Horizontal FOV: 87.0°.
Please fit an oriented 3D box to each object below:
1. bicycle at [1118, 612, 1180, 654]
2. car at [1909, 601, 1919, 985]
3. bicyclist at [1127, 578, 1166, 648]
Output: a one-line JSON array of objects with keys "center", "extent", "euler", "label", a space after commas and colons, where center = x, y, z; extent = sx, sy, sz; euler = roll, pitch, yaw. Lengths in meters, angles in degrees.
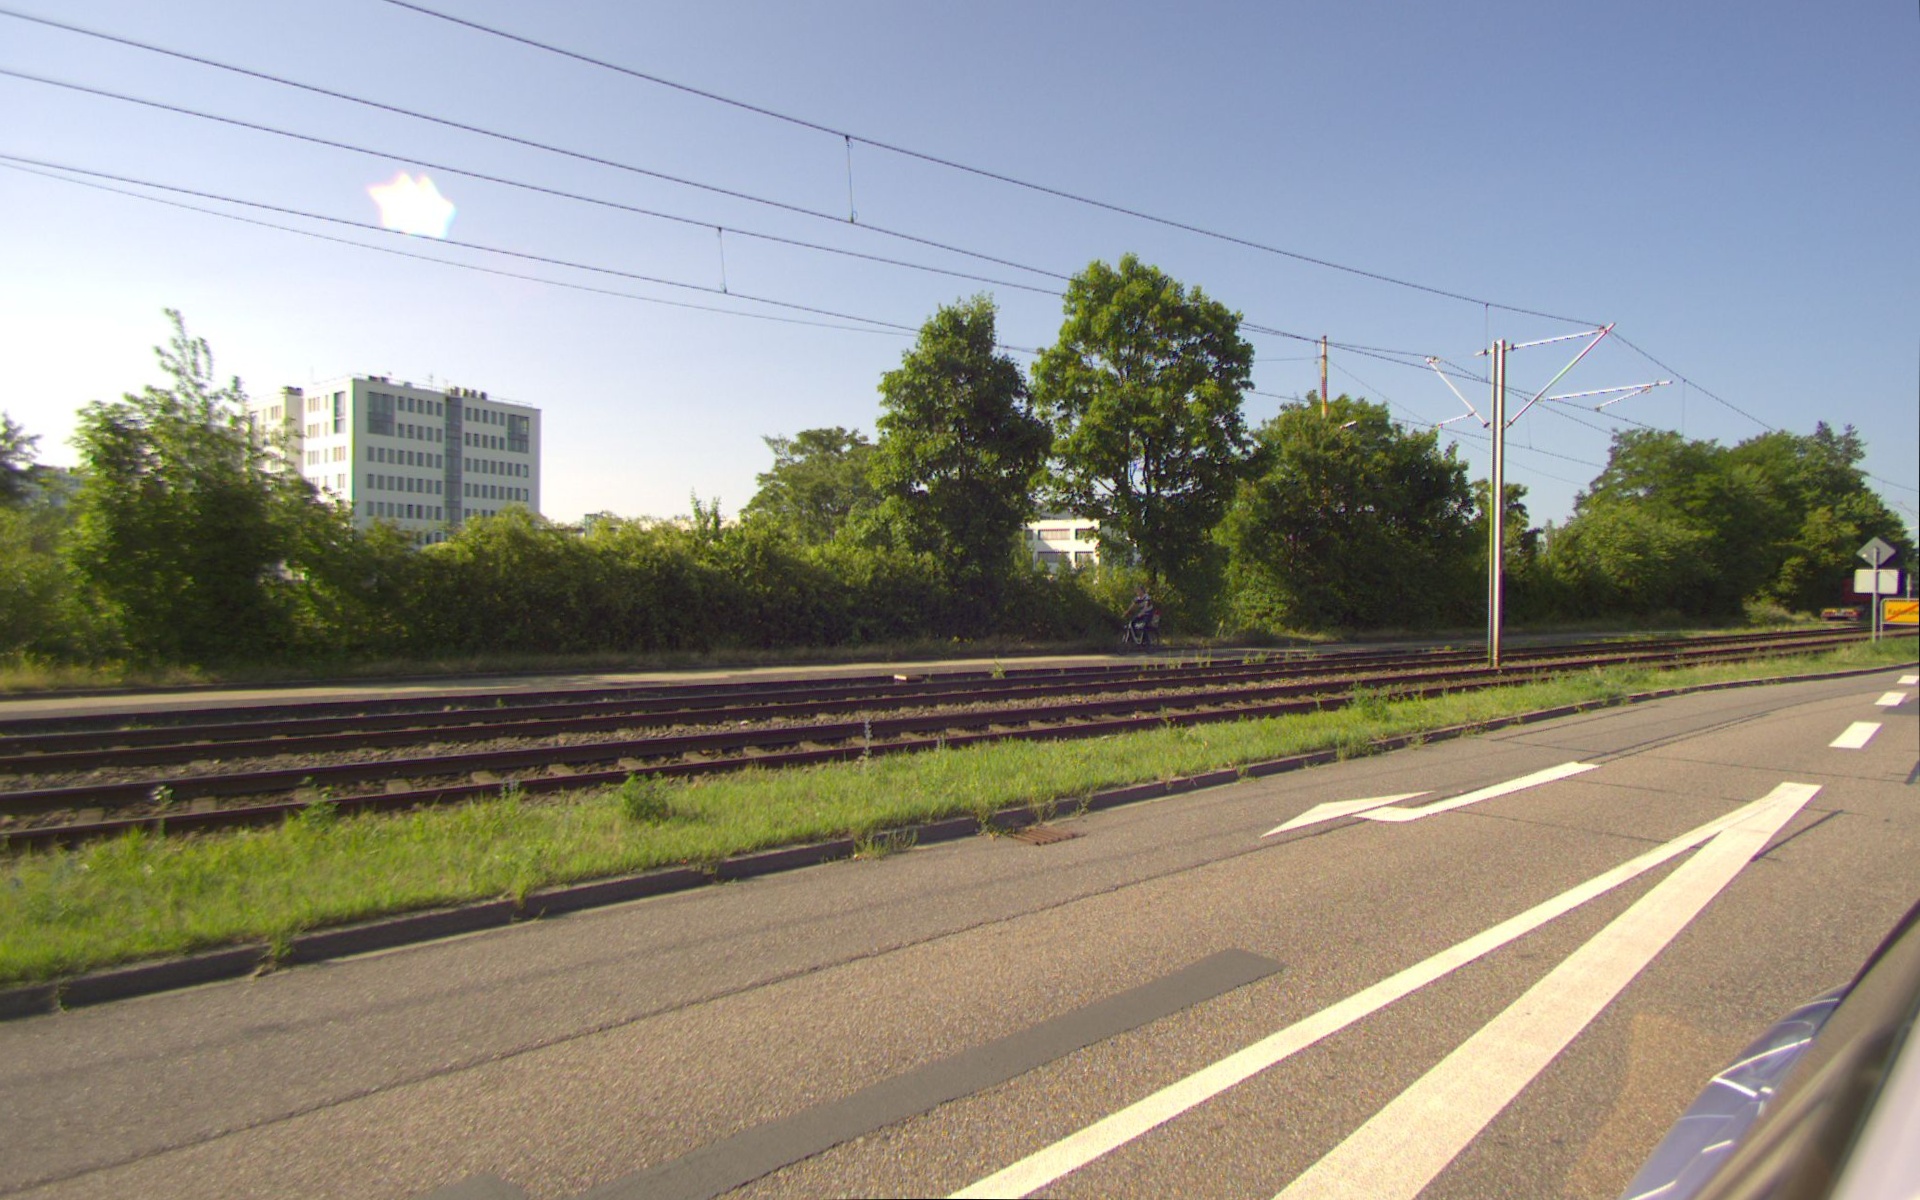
[{"center": [5.078, 0.856, 27.131], "extent": [1.840, 1.060, 0.547], "euler": [0, 1, -39], "label": "bicycle"}, {"center": [5.831, 0.720, 4.567], "extent": [4.383, 1.442, 1.819], "euler": [0, 0, -41], "label": "car"}, {"center": [5.002, 0.342, 27.149], "extent": [0.704, 1.830, 0.708], "euler": [0, 0, -38], "label": "bicyclist"}]
